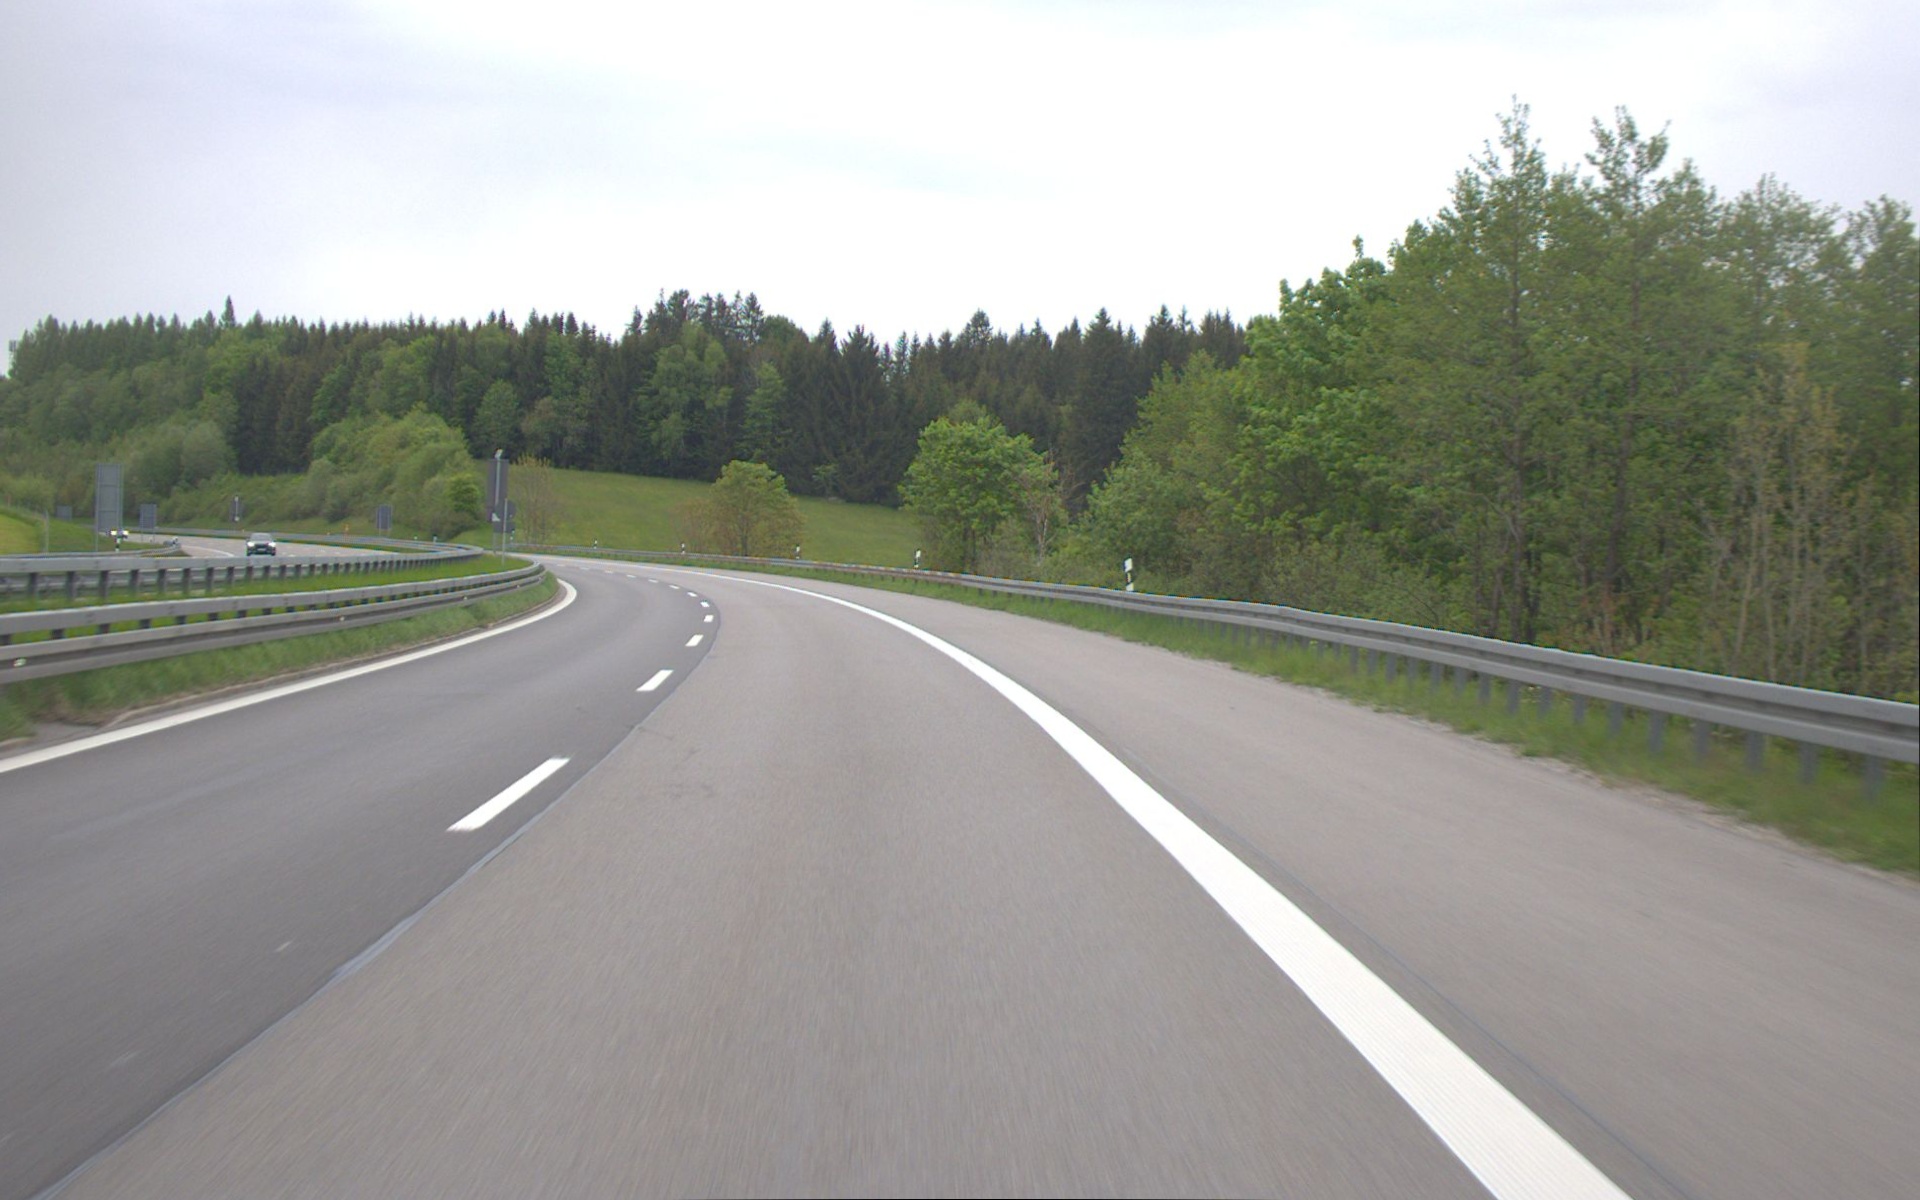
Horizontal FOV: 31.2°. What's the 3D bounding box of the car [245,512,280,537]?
[{"bbox_3d":[-45.275,-4.912,223.286,1.993,1.493,4.152,3,1,-9],"label":"car"}]
